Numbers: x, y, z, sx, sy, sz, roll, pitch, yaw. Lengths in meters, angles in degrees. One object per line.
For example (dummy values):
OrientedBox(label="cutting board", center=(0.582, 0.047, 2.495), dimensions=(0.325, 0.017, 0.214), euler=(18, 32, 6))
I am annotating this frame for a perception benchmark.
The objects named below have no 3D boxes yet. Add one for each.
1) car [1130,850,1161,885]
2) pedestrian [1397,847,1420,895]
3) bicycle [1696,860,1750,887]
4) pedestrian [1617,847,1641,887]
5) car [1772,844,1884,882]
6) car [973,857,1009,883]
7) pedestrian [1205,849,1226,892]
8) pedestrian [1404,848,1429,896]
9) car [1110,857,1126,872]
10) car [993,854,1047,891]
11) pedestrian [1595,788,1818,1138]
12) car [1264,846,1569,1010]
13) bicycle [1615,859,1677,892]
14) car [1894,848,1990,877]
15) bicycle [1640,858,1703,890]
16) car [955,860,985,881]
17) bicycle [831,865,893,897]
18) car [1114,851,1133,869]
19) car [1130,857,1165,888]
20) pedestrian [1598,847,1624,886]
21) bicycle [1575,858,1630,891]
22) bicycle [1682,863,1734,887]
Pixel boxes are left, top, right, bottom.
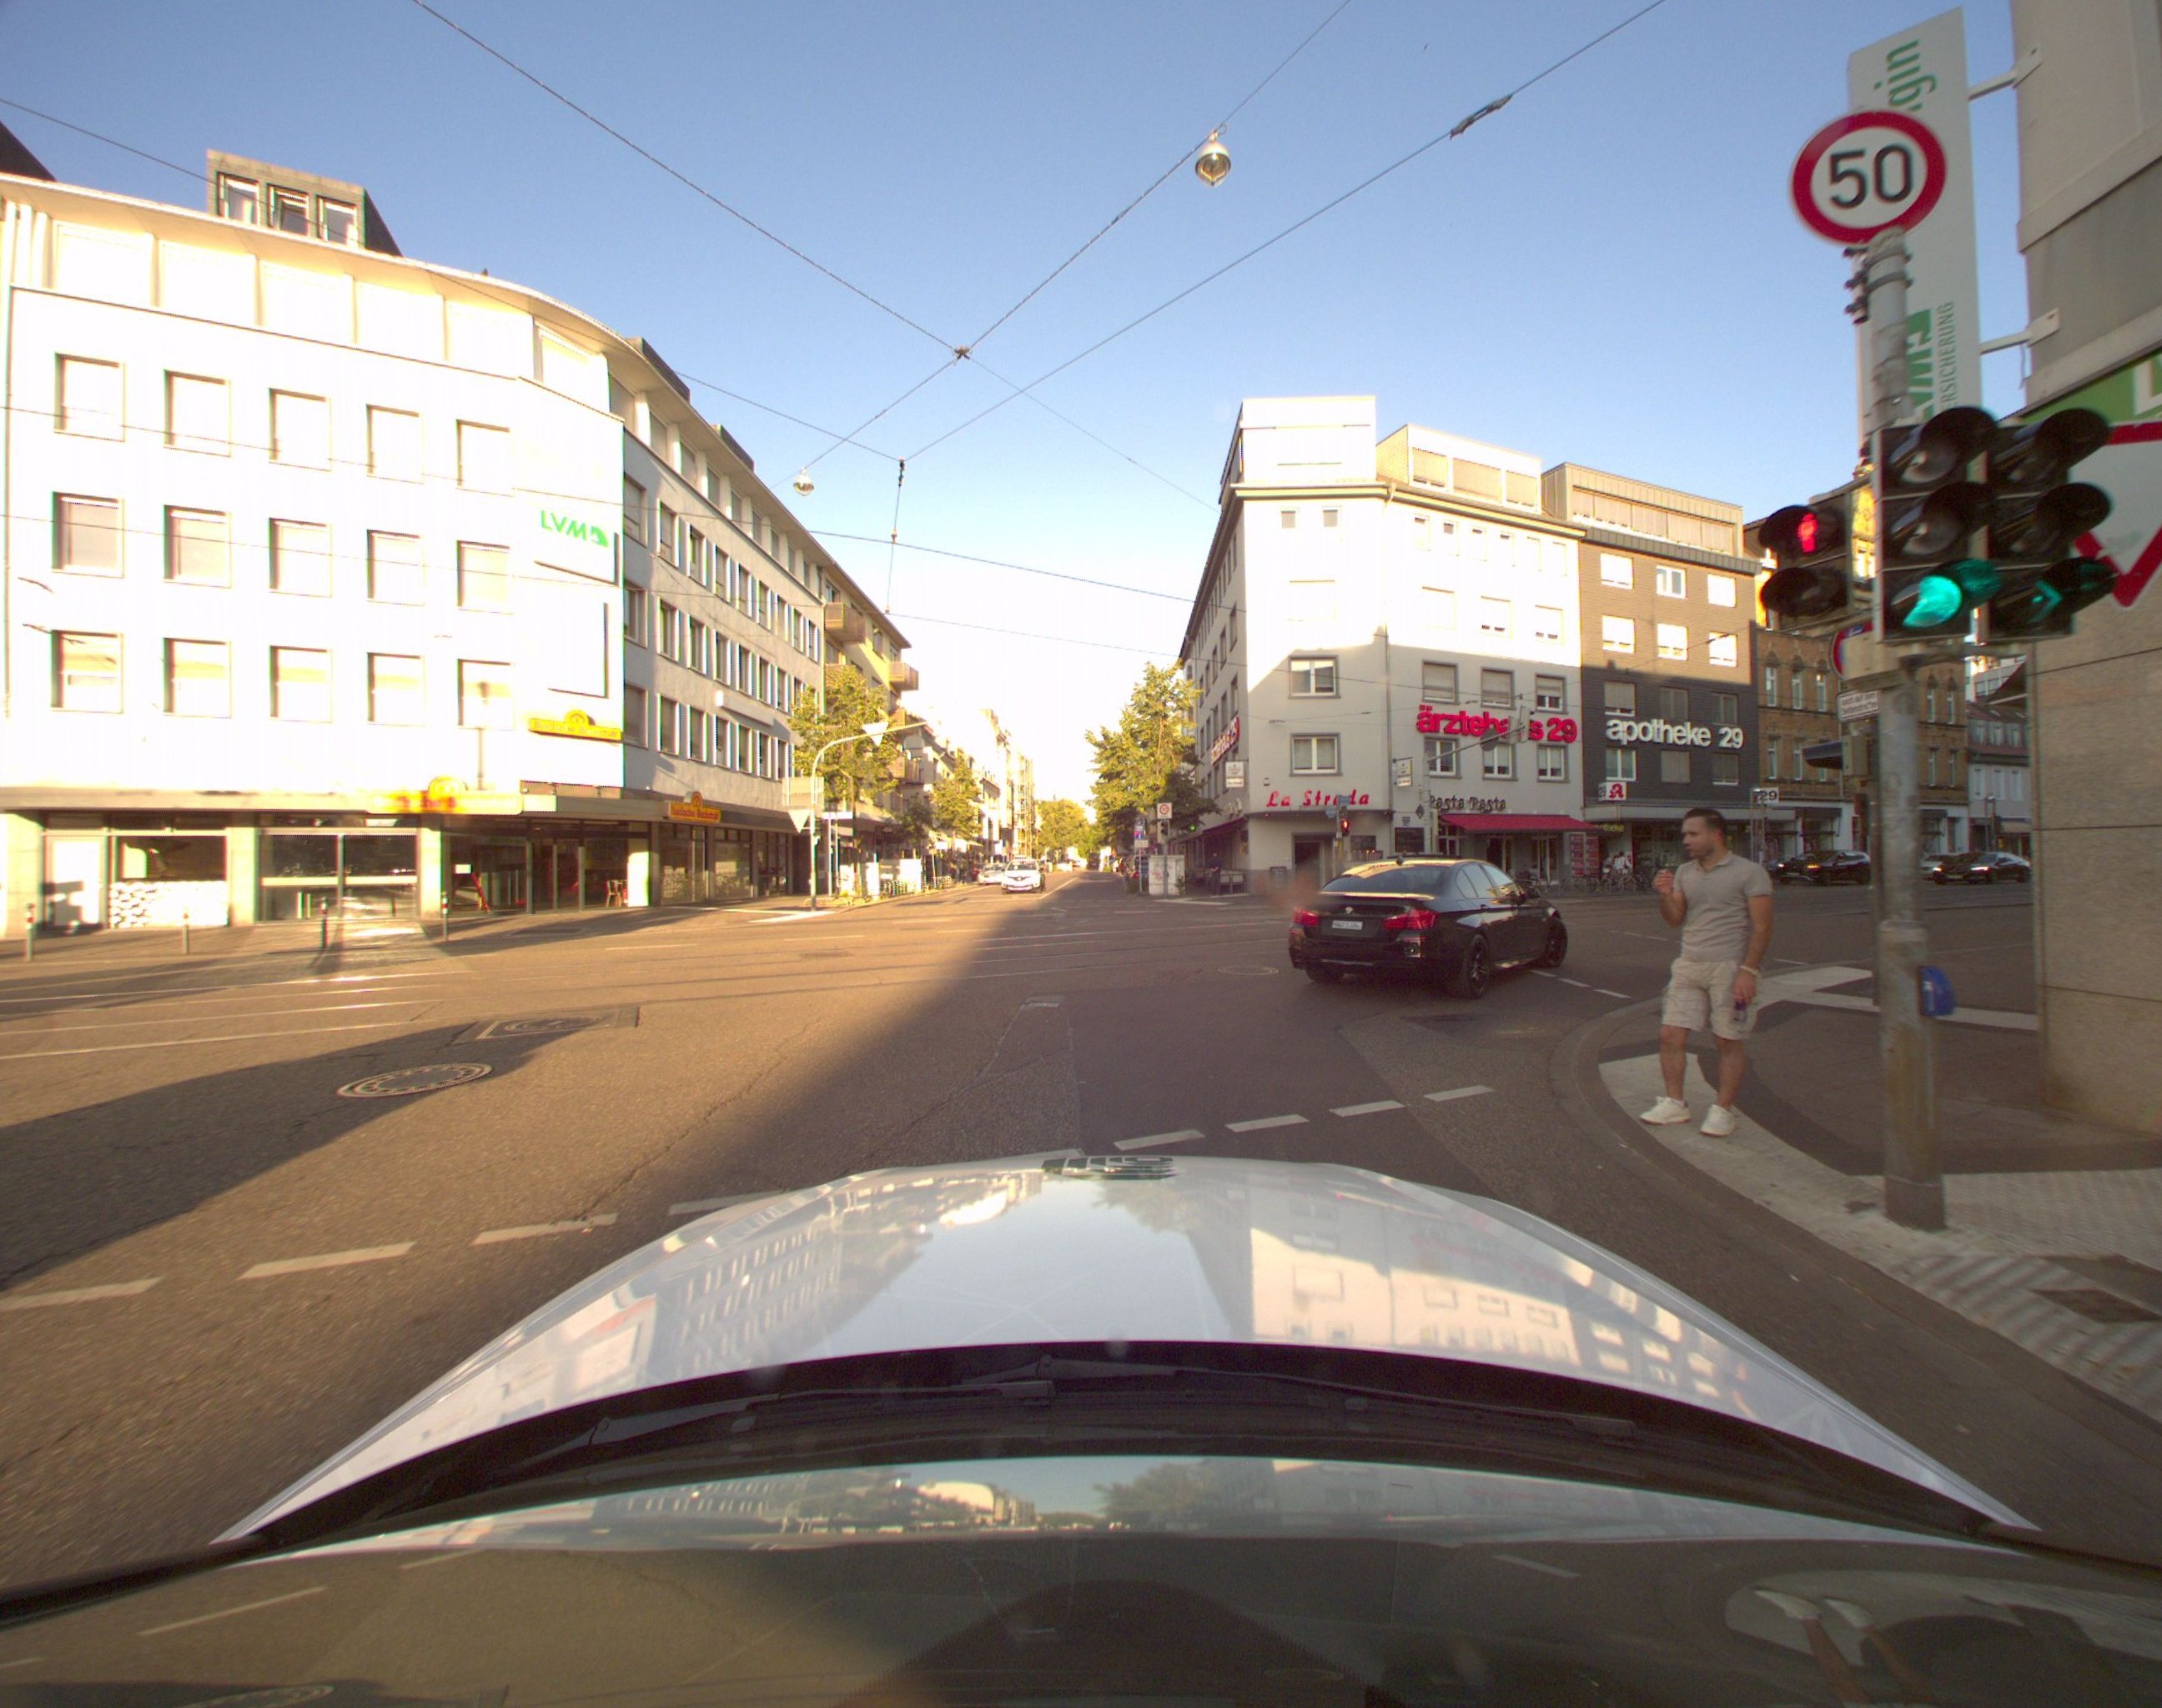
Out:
OrientedBox(label="car", center=(3.733, 0.717, 46.824), dimensions=(1.632, 1.873, 3.611), euler=(2, 0, 5))
OrientedBox(label="pedestrian", center=(12.431, 0.643, 30.934), dimensions=(0.596, 1.779, 0.638), euler=(-1, 0, 0))
OrientedBox(label="bicycle", center=(27.730, 0.810, 35.204), dimensions=(0.489, 1.047, 1.824), euler=(-2, 2, -21))
OrientedBox(label="pedestrian", center=(23.658, 0.542, 35.186), dimensions=(0.603, 1.699, 0.618), euler=(-1, 0, -22))
OrientedBox(label="car", center=(34.777, 0.367, 37.913), dimensions=(4.646, 1.674, 1.924), euler=(-1, 1, -20))
OrientedBox(label="car", center=(-5.779, 1.020, 52.896), dimensions=(1.828, 1.556, 3.780), euler=(-2, 0, 0))
OrientedBox(label="pedestrian", center=(5.303, 0.652, 32.067), dimensions=(0.709, 1.676, 0.703), euler=(-1, 0, 2))
OrientedBox(label="pedestrian", center=(12.423, 0.656, 30.173), dimensions=(0.664, 1.744, 0.638), euler=(-1, 0, 0))
OrientedBox(label="car", center=(4.780, 1.331, 104.207), dimensions=(1.843, 1.794, 4.005), euler=(-1, 0, 4))
OrientedBox(label="car", center=(-2.755, 0.858, 37.477), dimensions=(2.101, 1.556, 4.012), euler=(-2, -1, 0))
OrientedBox(label="pedestrian", center=(3.357, 0.546, 4.436), dimensions=(0.649, 1.742, 0.694), euler=(-1, -1, 0))
OrientedBox(label="car", center=(4.204, 0.671, 9.749), dimensions=(1.935, 1.498, 4.492), euler=(0, 0, 43))
OrientedBox(label="bicycle", center=(22.565, 0.834, 32.580), dimensions=(0.553, 1.224, 2.104), euler=(0, 2, -21))
OrientedBox(label="car", center=(45.345, 0.424, 42.908), dimensions=(4.612, 1.453, 1.861), euler=(0, -1, -21))
OrientedBox(label="bicycle", center=(24.015, 0.805, 33.153), dimensions=(0.553, 1.224, 2.104), euler=(1, 0, -21))
OrientedBox(label="car", center=(-8.882, 1.301, 65.574), dimensions=(1.828, 1.556, 3.779), euler=(-2, -1, 0))
OrientedBox(label="bicycle", center=(-9.045, 1.113, 33.631), dimensions=(2.361, 1.253, 0.639), euler=(1, -1, -3))
OrientedBox(label="car", center=(4.435, 0.628, 83.937), dimensions=(1.843, 1.794, 4.005), euler=(-1, -1, 4))
OrientedBox(label="car", center=(3.319, 0.883, 40.466), dimensions=(1.632, 1.444, 3.611), euler=(-1, -1, 5))
OrientedBox(label="pedestrian", center=(23.394, 0.550, 35.945), dimensions=(0.625, 1.661, 0.679), euler=(-1, 0, -22))
OrientedBox(label="bicycle", center=(20.881, 0.799, 32.618), dimensions=(0.553, 1.211, 1.884), euler=(0, 2, -21))
OrientedBox(label="bicycle", center=(26.906, 0.875, 34.972), dimensions=(0.456, 0.912, 1.798), euler=(-2, 2, -21))
